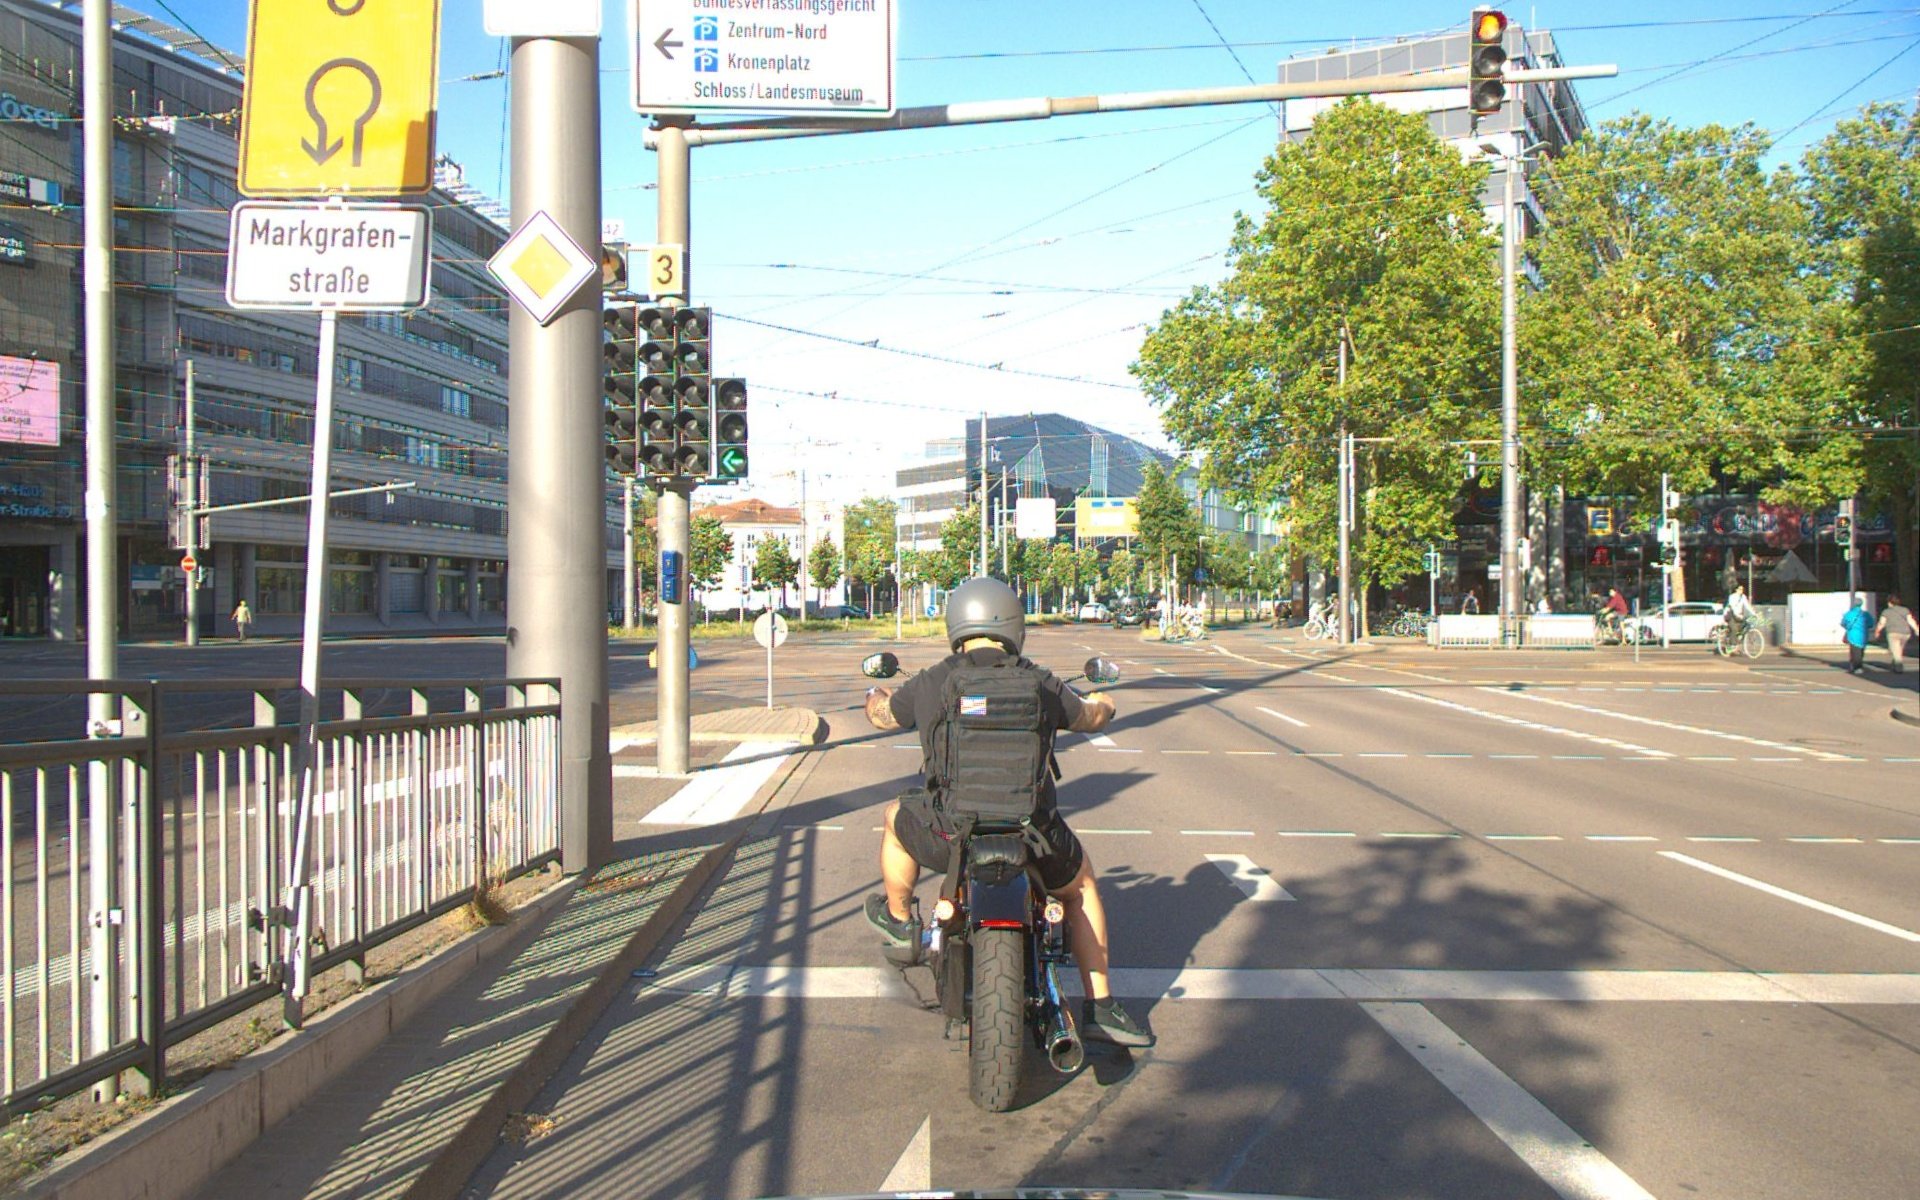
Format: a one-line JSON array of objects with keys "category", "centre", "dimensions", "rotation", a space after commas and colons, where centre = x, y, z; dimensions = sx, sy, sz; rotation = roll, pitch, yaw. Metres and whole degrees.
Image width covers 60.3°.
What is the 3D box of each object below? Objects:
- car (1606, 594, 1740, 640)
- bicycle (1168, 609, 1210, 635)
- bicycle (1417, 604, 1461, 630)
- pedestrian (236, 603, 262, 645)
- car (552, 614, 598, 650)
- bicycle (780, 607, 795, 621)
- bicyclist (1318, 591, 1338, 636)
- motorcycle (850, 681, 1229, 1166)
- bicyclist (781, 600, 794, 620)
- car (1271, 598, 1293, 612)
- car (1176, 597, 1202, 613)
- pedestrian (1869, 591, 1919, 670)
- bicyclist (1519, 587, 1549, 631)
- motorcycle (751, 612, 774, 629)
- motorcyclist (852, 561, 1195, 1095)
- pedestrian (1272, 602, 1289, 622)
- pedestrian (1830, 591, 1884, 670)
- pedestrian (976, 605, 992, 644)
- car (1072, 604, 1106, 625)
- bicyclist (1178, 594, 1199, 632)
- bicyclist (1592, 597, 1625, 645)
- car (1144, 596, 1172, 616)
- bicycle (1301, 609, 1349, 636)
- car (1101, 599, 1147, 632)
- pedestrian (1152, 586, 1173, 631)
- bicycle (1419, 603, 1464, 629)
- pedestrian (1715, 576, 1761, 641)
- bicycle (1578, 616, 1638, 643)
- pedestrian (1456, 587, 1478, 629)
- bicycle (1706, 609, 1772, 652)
[{"category": "car", "centre": [25.189, 0.599, 58.562], "dimensions": [3.903, 1.512, 2.001], "rotation": [1, -1, 4]}, {"category": "bicycle", "centre": [9.290, 0.887, 67.100], "dimensions": [1.594, 1.039, 0.516], "rotation": [-1, -1, 23]}, {"category": "bicycle", "centre": [19.246, 0.678, 66.445], "dimensions": [1.668, 1.003, 0.391], "rotation": [-1, 0, 13]}, {"category": "pedestrian", "centre": [-31.313, 1.050, 72.874], "dimensions": [0.660, 1.855, 0.886], "rotation": [-2, -1, 9]}, {"category": "car", "centre": [-17.765, 1.466, 76.467], "dimensions": [1.759, 1.491, 4.301], "rotation": [-1, 1, -10]}, {"category": "bicycle", "centre": [-14.371, 1.186, 137.794], "dimensions": [0.629, 1.127, 1.686], "rotation": [0, 0, 17]}, {"category": "bicyclist", "centre": [14.465, 0.532, 65.084], "dimensions": [0.727, 1.724, 0.570], "rotation": [-1, -1, 10]}, {"category": "motorcycle", "centre": [0.194, 0.911, 5.519], "dimensions": [0.985, 1.145, 2.322], "rotation": [1, 0, -1]}, {"category": "bicyclist", "centre": [-14.381, 0.842, 137.760], "dimensions": [0.747, 1.696, 0.994], "rotation": [0, 0, 16]}, {"category": "car", "centre": [35.042, 0.587, 180.096], "dimensions": [1.803, 1.490, 4.001], "rotation": [1, -1, 19]}, {"category": "car", "centre": [22.330, 0.439, 161.229], "dimensions": [1.685, 1.510, 3.754], "rotation": [0, 0, 22]}, {"category": "pedestrian", "centre": [19.035, 0.614, 33.632], "dimensions": [0.638, 1.566, 0.741], "rotation": [1, -1, -8]}, {"category": "bicyclist", "centre": [25.404, 0.393, 73.245], "dimensions": [1.200, 1.965, 0.836], "rotation": [0, 0, 15]}, {"category": "motorcycle", "centre": [-15.407, 1.600, 129.103], "dimensions": [0.962, 1.253, 2.945], "rotation": [0, 0, 10]}, {"category": "motorcyclist", "centre": [0.181, 0.680, 5.574], "dimensions": [1.001, 1.579, 1.286], "rotation": [1, 0, -1]}, {"category": "pedestrian", "centre": [17.566, 0.641, 90.701], "dimensions": [0.768, 1.075, 0.814], "rotation": [-1, 0, 22]}, {"category": "pedestrian", "centre": [18.211, 0.619, 33.590], "dimensions": [0.662, 1.566, 0.741], "rotation": [1, -1, -8]}, {"category": "pedestrian", "centre": [1.004, 1.012, 68.785], "dimensions": [0.643, 1.610, 0.489], "rotation": [0, 0, 3]}, {"category": "car", "centre": [9.786, 1.081, 125.193], "dimensions": [1.861, 1.534, 4.002], "rotation": [1, -1, 15]}, {"category": "bicyclist", "centre": [9.264, 0.533, 67.109], "dimensions": [0.727, 1.529, 0.570], "rotation": [-1, -1, 23]}, {"category": "bicyclist", "centre": [22.266, 0.705, 56.785], "dimensions": [0.906, 1.643, 0.638], "rotation": [0, 0, 3]}, {"category": "car", "centre": [17.931, 0.532, 149.660], "dimensions": [1.684, 1.686, 3.755], "rotation": [0, 0, 19]}, {"category": "bicycle", "centre": [14.349, 0.900, 65.121], "dimensions": [1.813, 1.039, 0.517], "rotation": [-1, -1, 11]}, {"category": "car", "centre": [9.965, 0.950, 100.189], "dimensions": [2.010, 1.906, 4.229], "rotation": [1, -1, 17]}, {"category": "pedestrian", "centre": [8.515, 0.354, 69.432], "dimensions": [0.688, 1.869, 0.513], "rotation": [0, -1, 35]}, {"category": "bicycle", "centre": [19.094, 0.637, 65.598], "dimensions": [1.668, 1.003, 0.391], "rotation": [-1, 0, 13]}, {"category": "pedestrian", "centre": [19.929, 0.216, 42.371], "dimensions": [0.754, 1.622, 0.838], "rotation": [1, -1, -1]}, {"category": "bicycle", "centre": [22.248, 1.007, 56.790], "dimensions": [1.814, 0.926, 0.652], "rotation": [0, 0, 3]}, {"category": "pedestrian", "centre": [23.321, 0.371, 76.067], "dimensions": [0.829, 1.884, 0.810], "rotation": [2, 0, 14]}, {"category": "bicycle", "centre": [19.925, 0.775, 42.344], "dimensions": [0.773, 1.070, 1.922], "rotation": [1, -1, -1]}]
